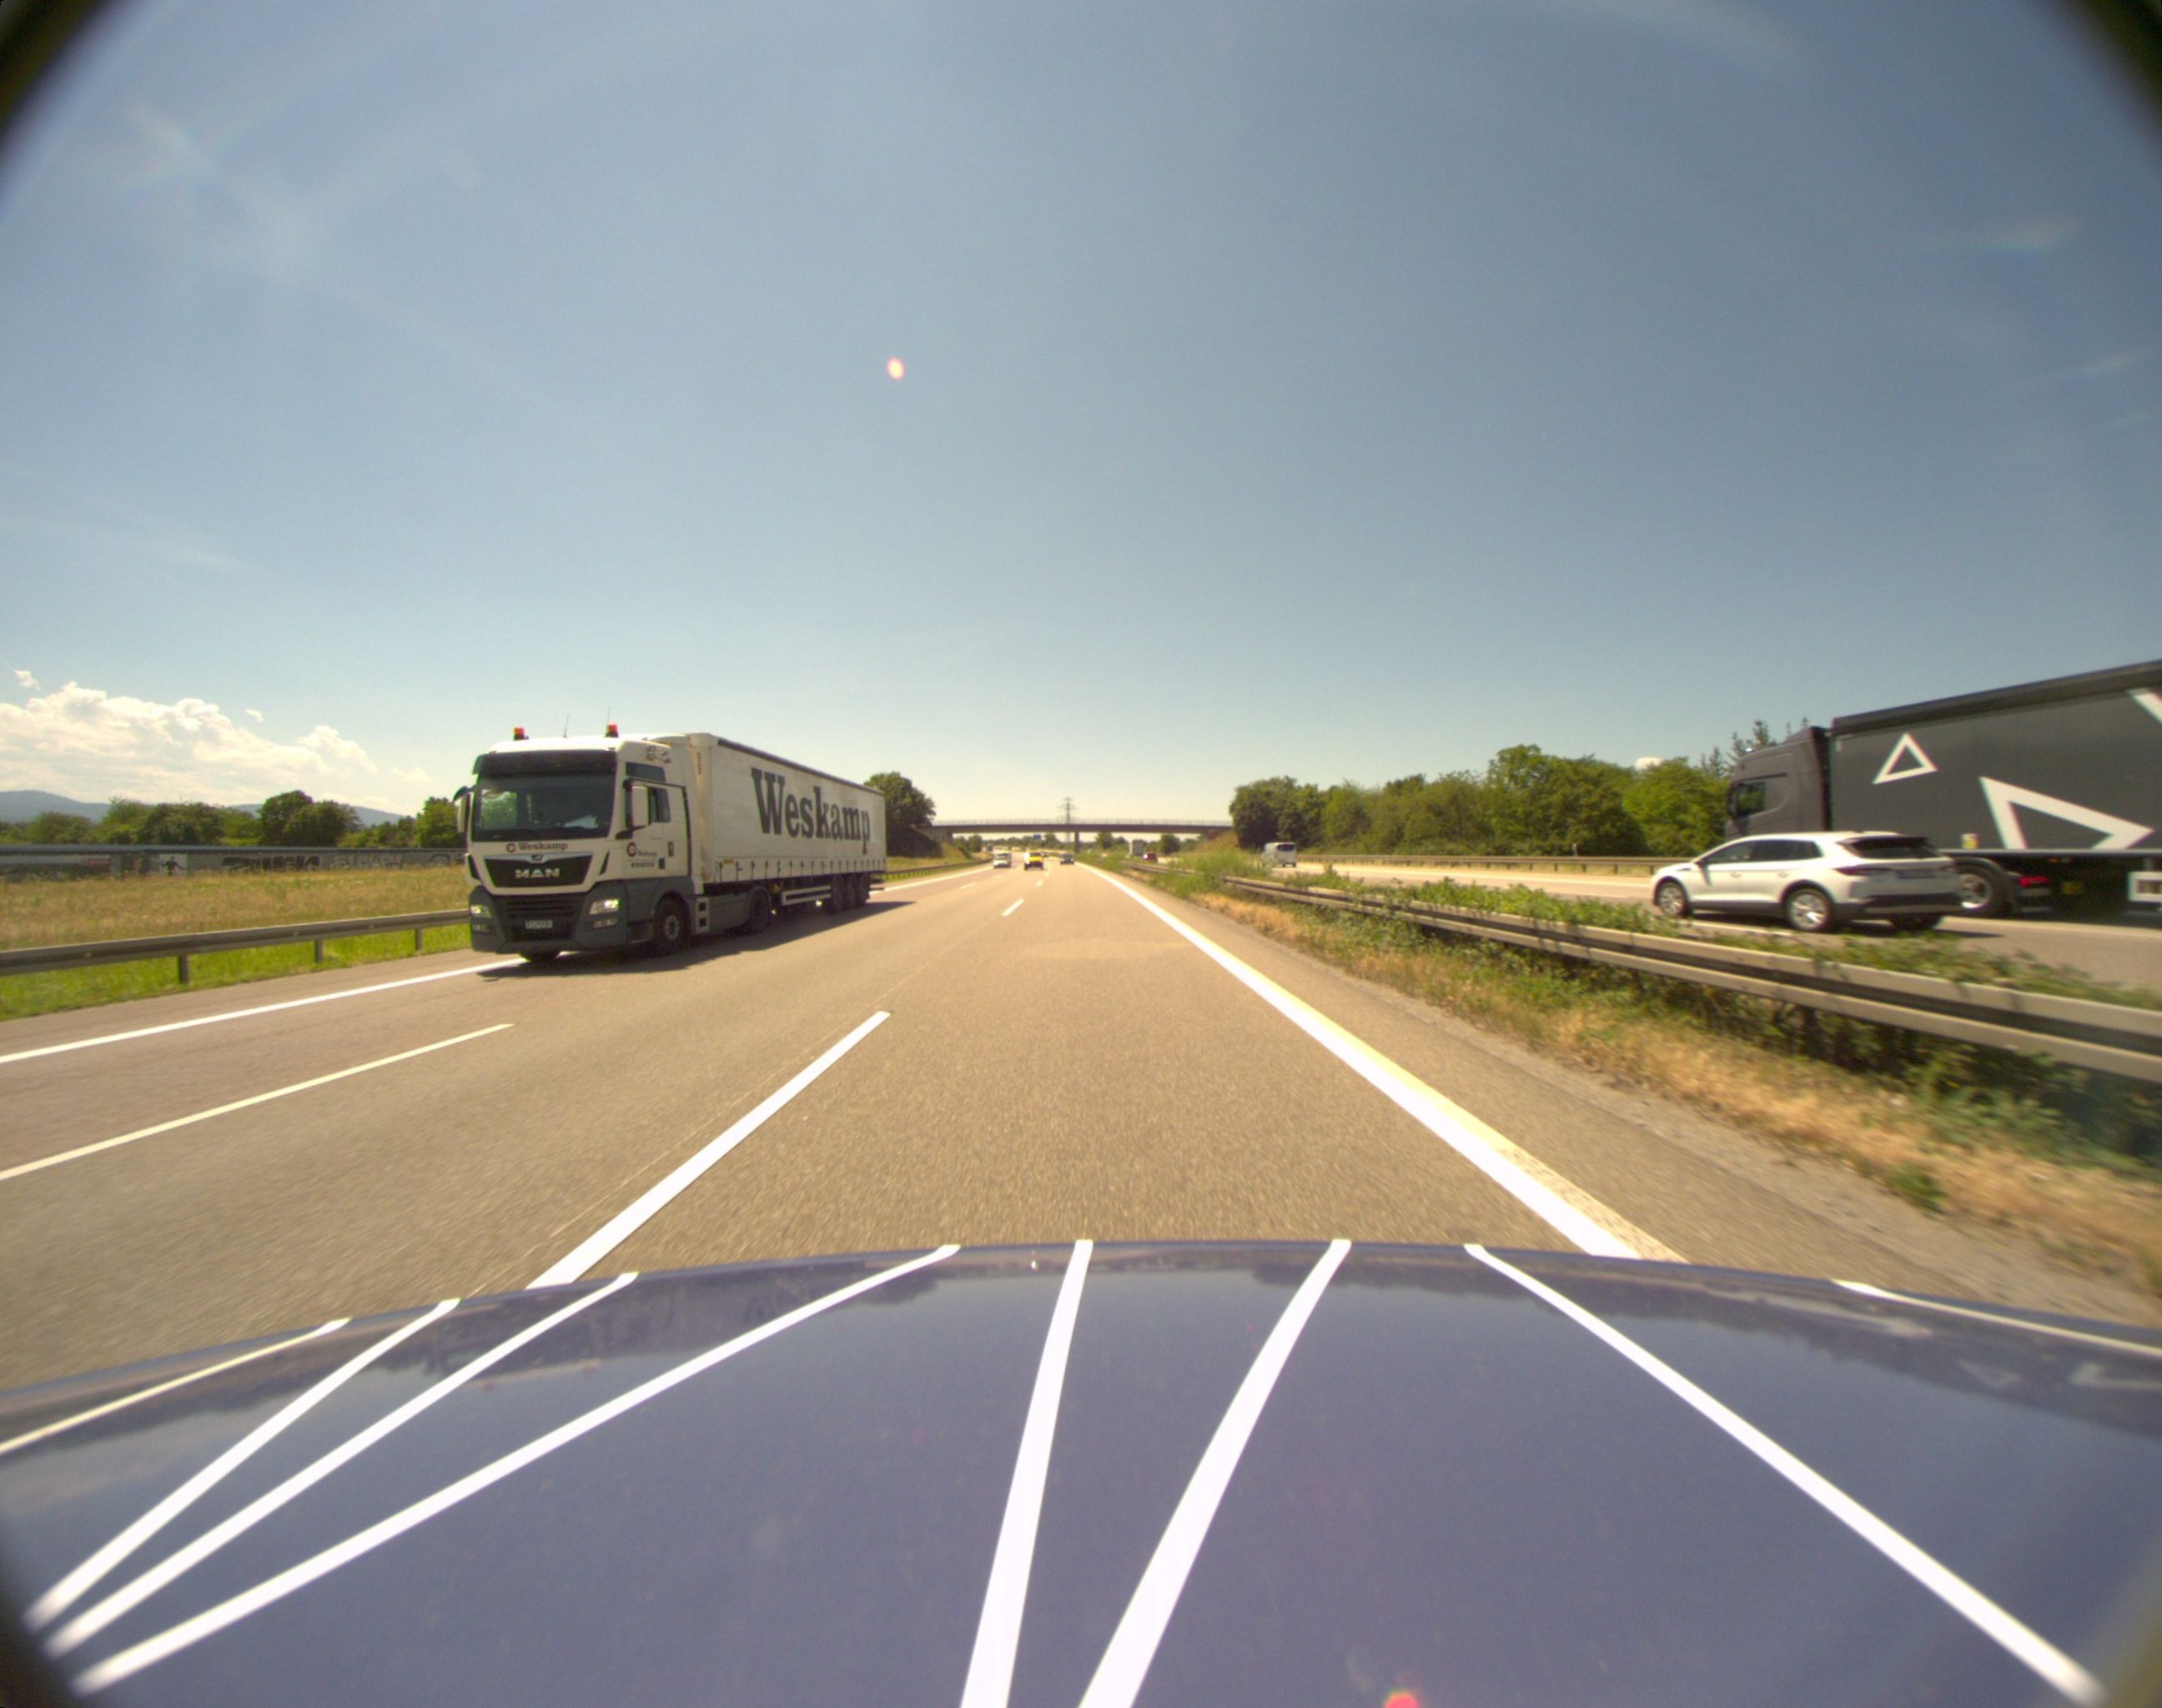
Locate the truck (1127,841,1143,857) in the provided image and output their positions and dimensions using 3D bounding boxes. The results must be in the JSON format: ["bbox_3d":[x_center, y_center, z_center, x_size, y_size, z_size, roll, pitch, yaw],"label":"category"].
[{"bbox_3d":[11.222,-1.037,158.744,2.458,3.081,6.988,-1,1,-2],"label":"truck"}]

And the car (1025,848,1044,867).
[{"bbox_3d":[-4.782,0.317,77.105,1.777,1.882,3.830,-1,1,-5],"label":"car"}]

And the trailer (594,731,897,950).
[{"bbox_3d":[-8.239,-0.277,21.766,2.602,4.227,13.639,-2,0,0],"label":"trailer"}]

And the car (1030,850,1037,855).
[{"bbox_3d":[-12.931,-0.423,205.993,1.650,1.557,3.598,-1,1,-5],"label":"car"}]

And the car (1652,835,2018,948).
[{"bbox_3d":[12.492,0.519,13.125,1.847,1.577,4.487,-1,0,-1],"label":"car"}]

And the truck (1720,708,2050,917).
[{"bbox_3d":[16.917,-0.800,16.394,2.901,3.893,4.000,-1,1,0],"label":"truck"}]

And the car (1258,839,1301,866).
[{"bbox_3d":[16.292,-0.146,62.731,2.063,2.059,5.408,-1,1,0],"label":"car"}]

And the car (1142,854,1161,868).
[{"bbox_3d":[8.370,0.801,90.225,1.698,1.483,4.137,-1,0,-3],"label":"car"}]

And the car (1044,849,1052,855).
[{"bbox_3d":[-8.741,-0.507,200.332,1.999,1.707,3.997,-1,1,-5],"label":"car"}]

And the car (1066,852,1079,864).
[{"bbox_3d":[-1.143,0.493,102.330,1.726,1.478,3.999,-1,0,-1],"label":"car"}]

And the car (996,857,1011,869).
[{"bbox_3d":[-9.500,1.082,93.613,1.785,1.467,3.997,-1,1,-5],"label":"car"}]

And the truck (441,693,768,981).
[{"bbox_3d":[-8.185,-0.260,13.934,2.607,4.231,5.088,-2,1,0],"label":"truck"}]

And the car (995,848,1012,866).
[{"bbox_3d":[-10.161,0.329,100.137,2.189,2.253,4.948,-1,1,-5],"label":"car"}]

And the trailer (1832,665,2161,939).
[{"bbox_3d":[16.963,-0.761,8.632,2.888,3.925,14.055,-1,0,0],"label":"trailer"}]
